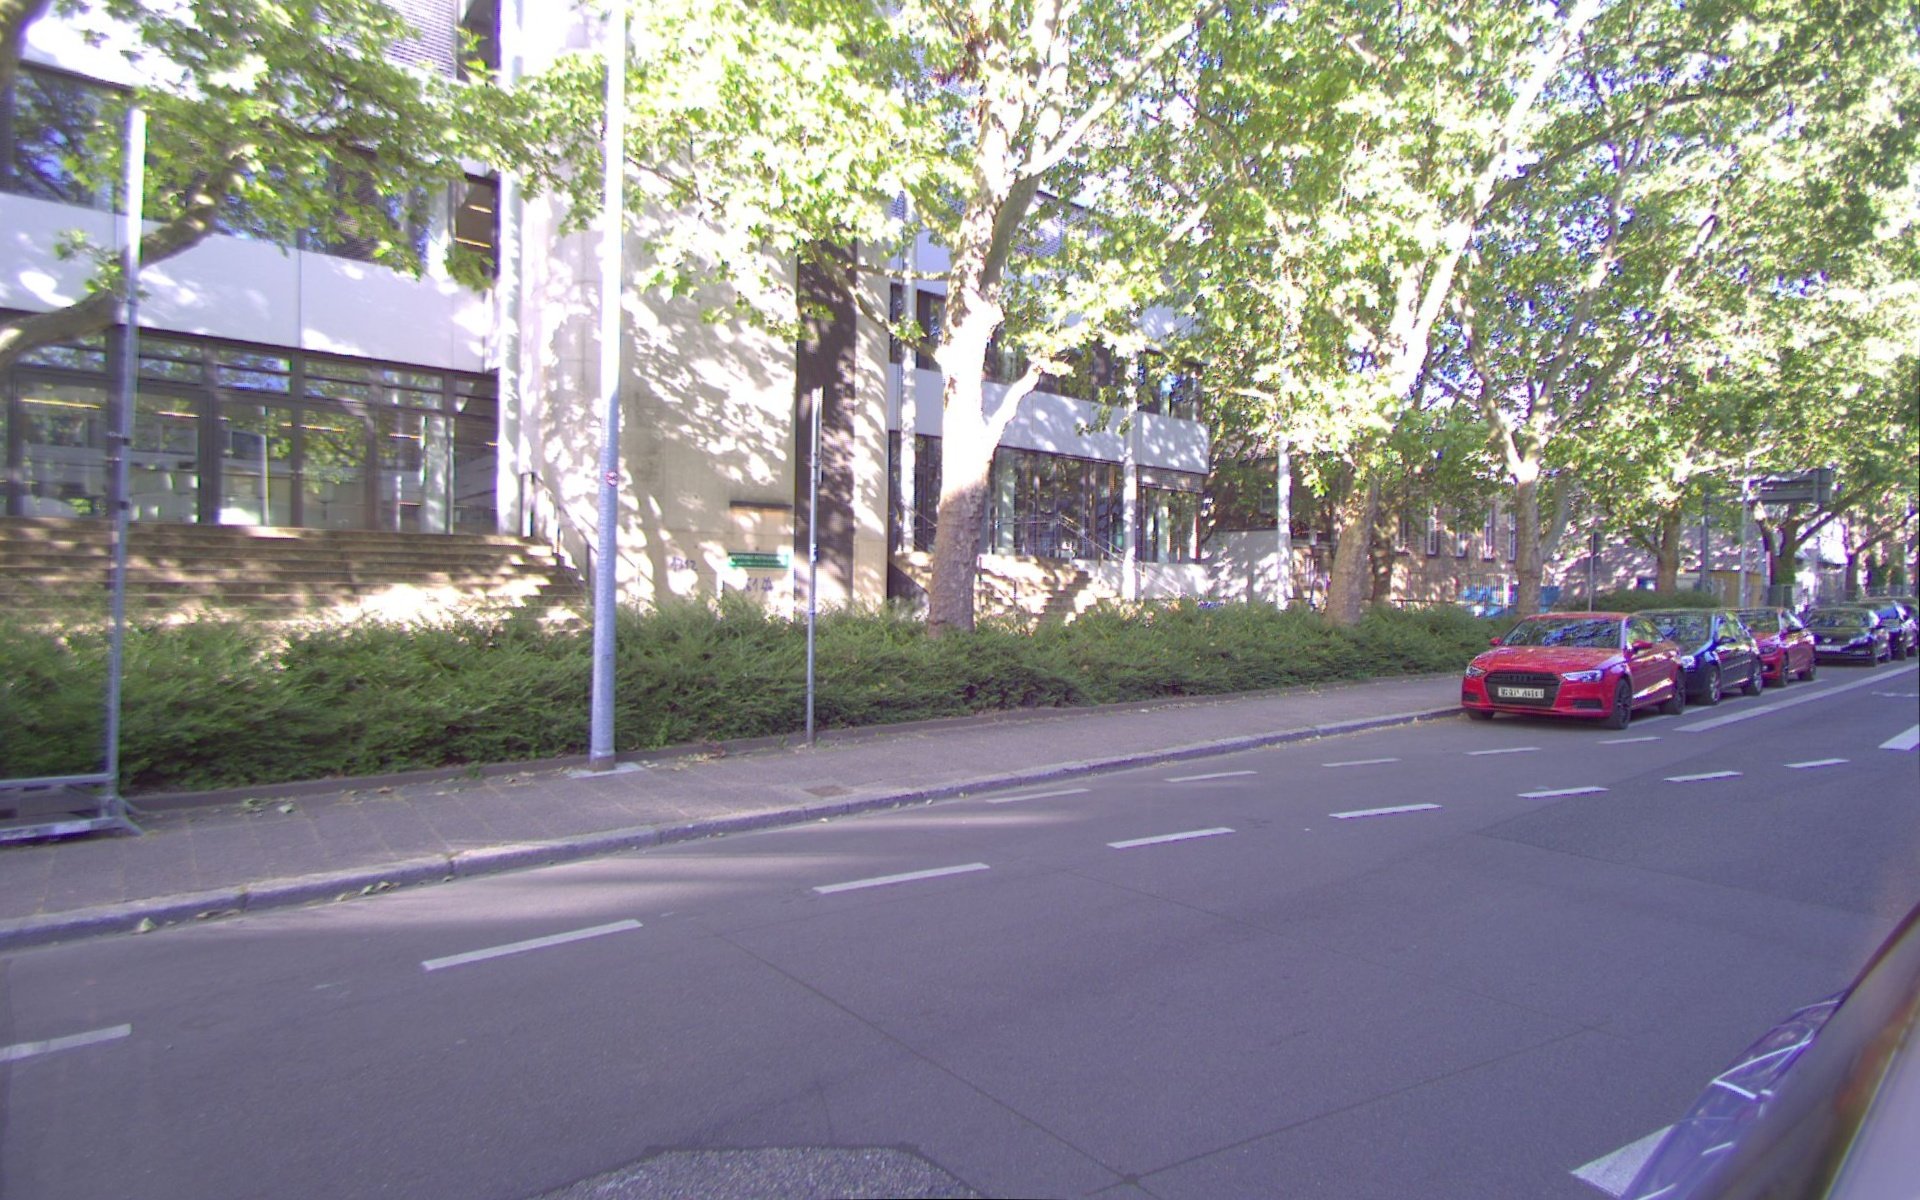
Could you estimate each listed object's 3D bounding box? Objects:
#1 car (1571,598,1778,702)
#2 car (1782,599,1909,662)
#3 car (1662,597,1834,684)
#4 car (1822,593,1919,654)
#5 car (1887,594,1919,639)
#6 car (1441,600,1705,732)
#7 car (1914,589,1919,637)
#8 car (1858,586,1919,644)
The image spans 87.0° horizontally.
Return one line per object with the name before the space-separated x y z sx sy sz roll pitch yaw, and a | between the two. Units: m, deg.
car | 11.800 0.727 16.654 3.581 1.478 1.997 -1 0 -41
car | 22.807 0.724 26.051 3.527 1.474 1.997 -1 0 -41
car | 15.651 0.717 20.041 3.762 1.517 1.997 -1 0 -41
car | 26.530 0.609 29.170 4.070 1.621 1.997 -1 0 -41
car | 35.956 0.583 37.433 4.070 1.585 1.997 -1 0 -41
car | 8.263 0.751 13.514 3.930 1.443 1.906 -1 0 -41
car | 39.642 0.486 40.311 3.930 1.872 1.997 -1 0 -41
car | 31.271 0.450 33.300 4.493 1.809 1.997 -1 0 -41
